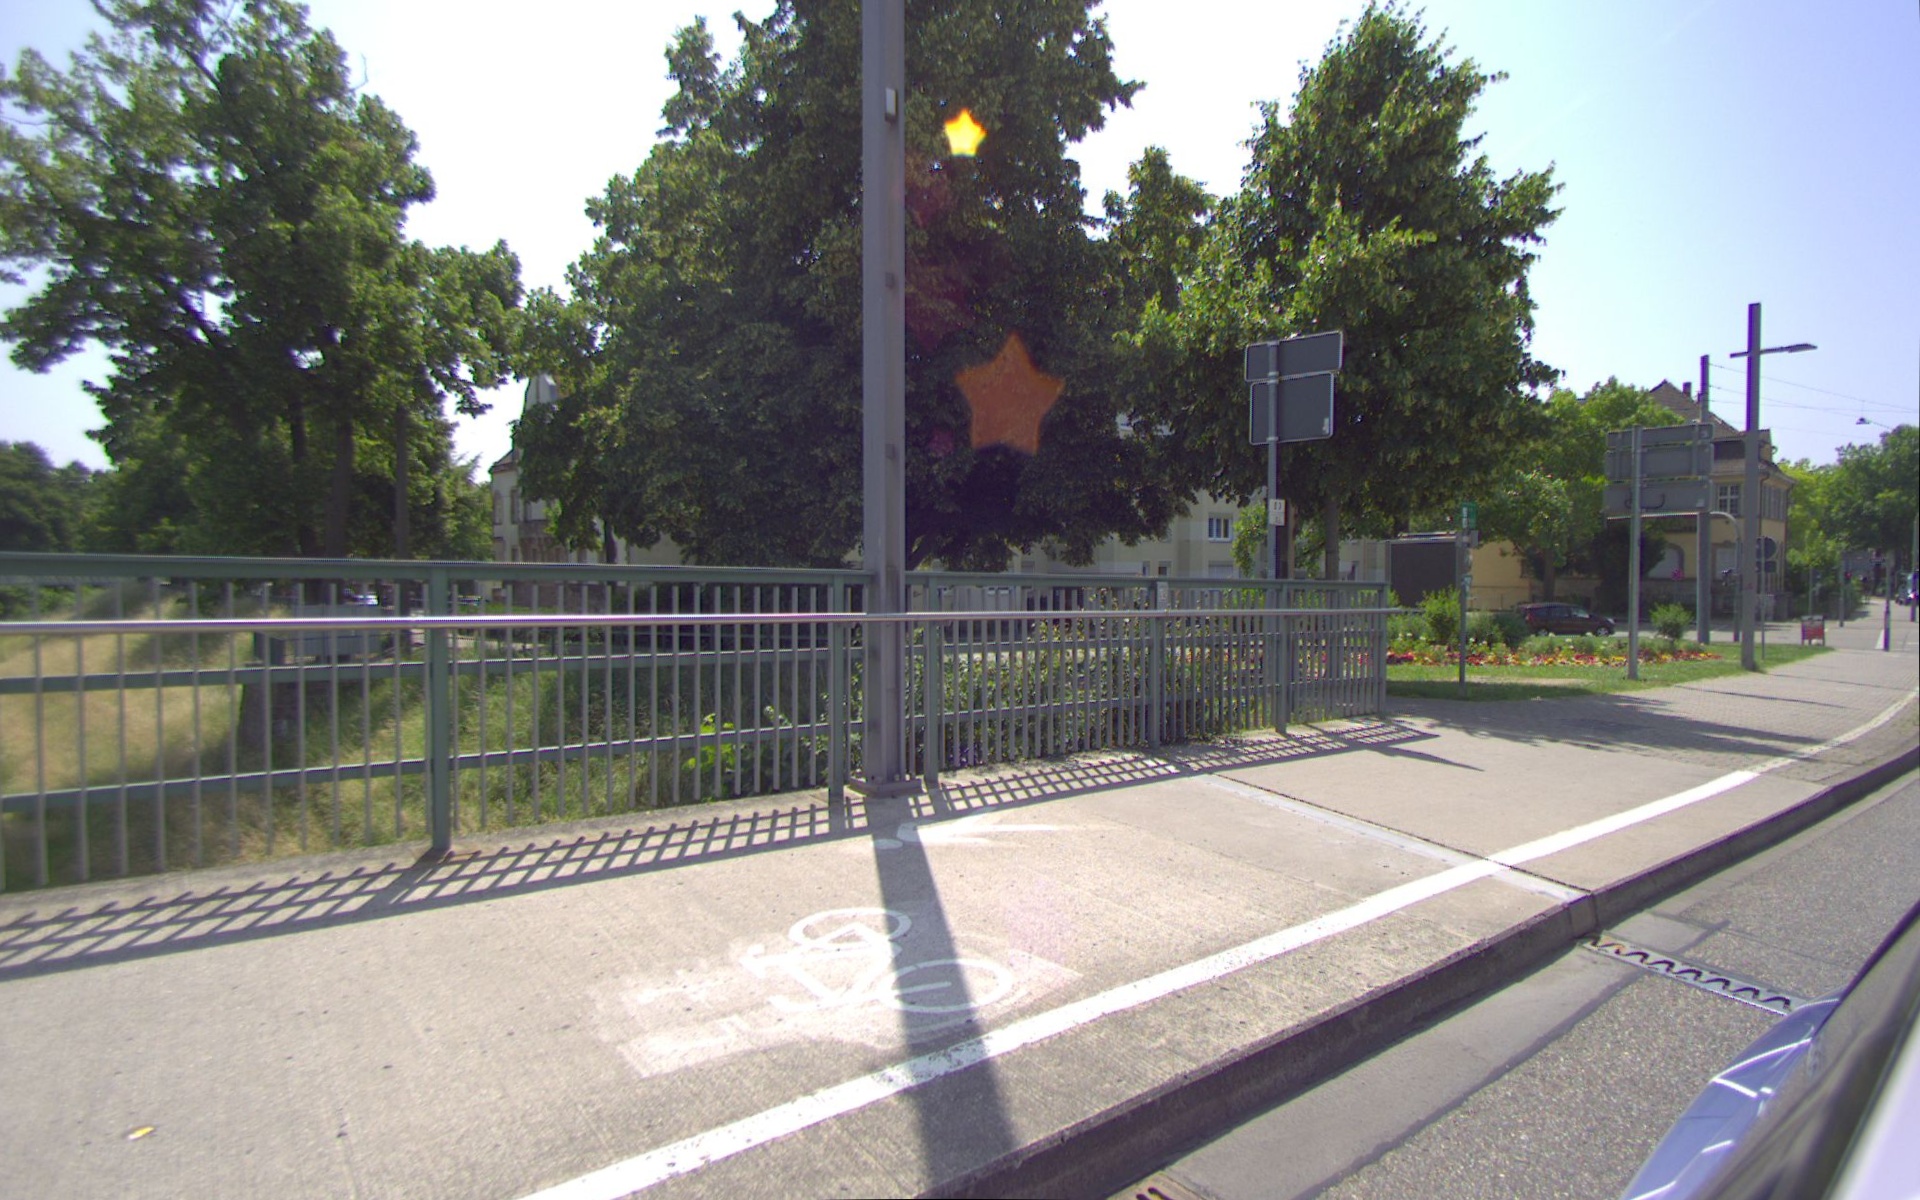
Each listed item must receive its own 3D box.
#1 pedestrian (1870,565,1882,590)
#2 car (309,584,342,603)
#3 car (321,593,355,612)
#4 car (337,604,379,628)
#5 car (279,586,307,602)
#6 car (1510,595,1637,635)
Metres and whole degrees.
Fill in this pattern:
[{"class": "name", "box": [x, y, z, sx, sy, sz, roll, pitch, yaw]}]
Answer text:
[{"class": "pedestrian", "box": [72.294, -1.757, 79.856, 0.619, 1.941, 0.732, 2, 3, 44]}, {"class": "car", "box": [-55.553, -0.531, 88.518, 1.797, 1.572, 4.124, -1, 0, -42]}, {"class": "car", "box": [-52.198, 0.198, 84.879, 1.797, 1.571, 3.992, -1, 0, -42]}, {"class": "car", "box": [-39.972, 1.044, 67.139, 1.564, 1.571, 3.739, -1, 0, -44]}, {"class": "car", "box": [-65.670, -0.584, 99.653, 1.797, 1.572, 3.992, -1, 0, -42]}, {"class": "car", "box": [28.989, 0.707, 47.930, 4.731, 1.652, 1.917, -1, 2, 3]}]
